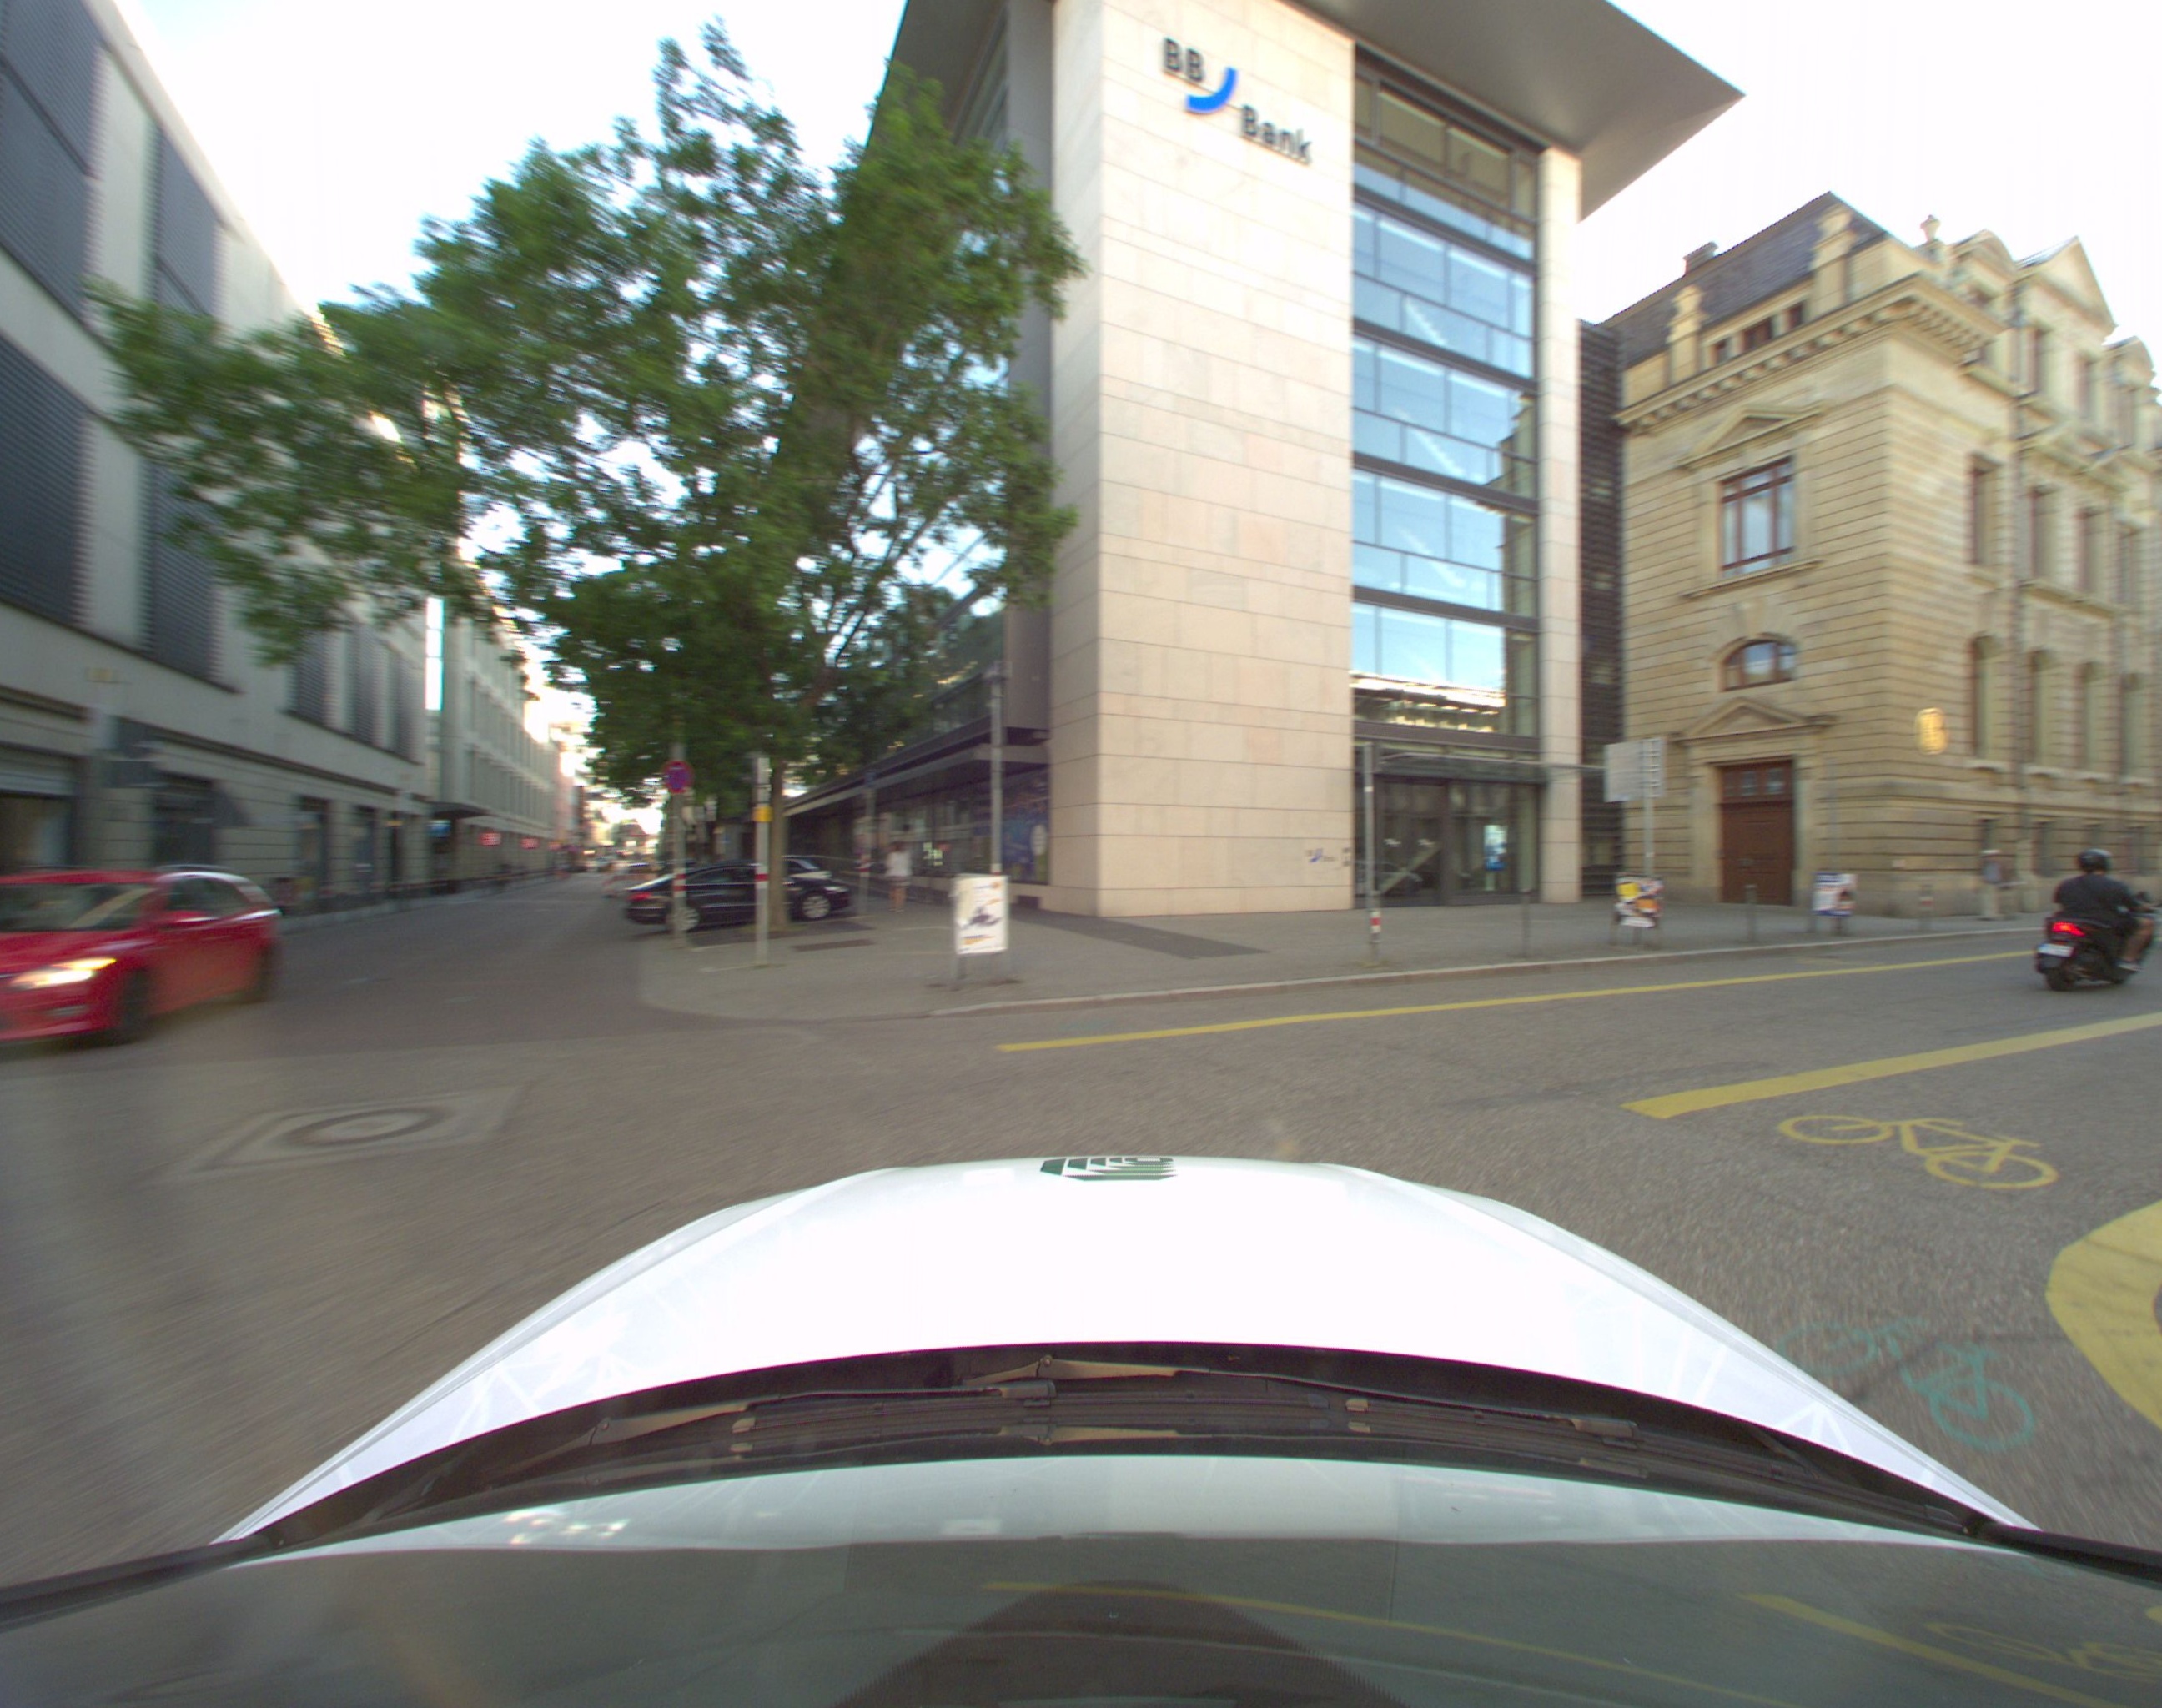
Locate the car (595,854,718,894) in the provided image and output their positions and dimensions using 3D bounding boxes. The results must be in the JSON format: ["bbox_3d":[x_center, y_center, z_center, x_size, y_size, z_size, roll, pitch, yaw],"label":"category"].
[{"bbox_3d":[-20.291,0.935,39.032,5.037,1.499,1.981,-4,1,-30],"label":"car"}]

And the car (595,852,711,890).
[{"bbox_3d":[-21.573,0.827,41.143,5.037,1.499,1.981,-4,1,-30],"label":"car"}]

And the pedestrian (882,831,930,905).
[{"bbox_3d":[-4.254,0.323,19.774,0.910,1.706,0.827,-3,0,-27],"label":"pedestrian"}]

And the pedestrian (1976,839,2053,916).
[{"bbox_3d":[22.851,0.552,19.942,1.074,1.799,0.838,1,3,-21],"label":"pedestrian"}]

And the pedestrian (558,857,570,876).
[{"bbox_3d":[-41.487,0.997,65.406,0.736,1.574,0.630,1,-1,-27],"label":"pedestrian"}]

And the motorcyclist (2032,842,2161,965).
[{"bbox_3d":[12.367,0.581,9.939,0.455,1.427,0.865,1,-1,-15],"label":"motorcyclist"}]

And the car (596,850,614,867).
[{"bbox_3d":[-66.379,0.624,113.535,2.006,2.329,4.972,2,-1,-30],"label":"car"}]

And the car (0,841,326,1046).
[{"bbox_3d":[-9.080,0.703,7.552,1.832,1.465,4.227,0,-2,-26],"label":"car"}]

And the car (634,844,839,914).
[{"bbox_3d":[-9.613,0.623,22.835,5.037,1.499,1.981,-4,1,-30],"label":"car"}]

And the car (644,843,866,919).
[{"bbox_3d":[-8.344,0.620,21.006,5.037,1.499,1.981,-4,1,-30],"label":"car"}]

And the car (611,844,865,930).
[{"bbox_3d":[-7.714,0.654,18.492,5.037,1.451,1.981,-4,1,-30],"label":"car"}]

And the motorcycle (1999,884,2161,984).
[{"bbox_3d":[12.396,0.938,9.943,1.837,1.109,0.871,1,-1,-16],"label":"motorcycle"}]
